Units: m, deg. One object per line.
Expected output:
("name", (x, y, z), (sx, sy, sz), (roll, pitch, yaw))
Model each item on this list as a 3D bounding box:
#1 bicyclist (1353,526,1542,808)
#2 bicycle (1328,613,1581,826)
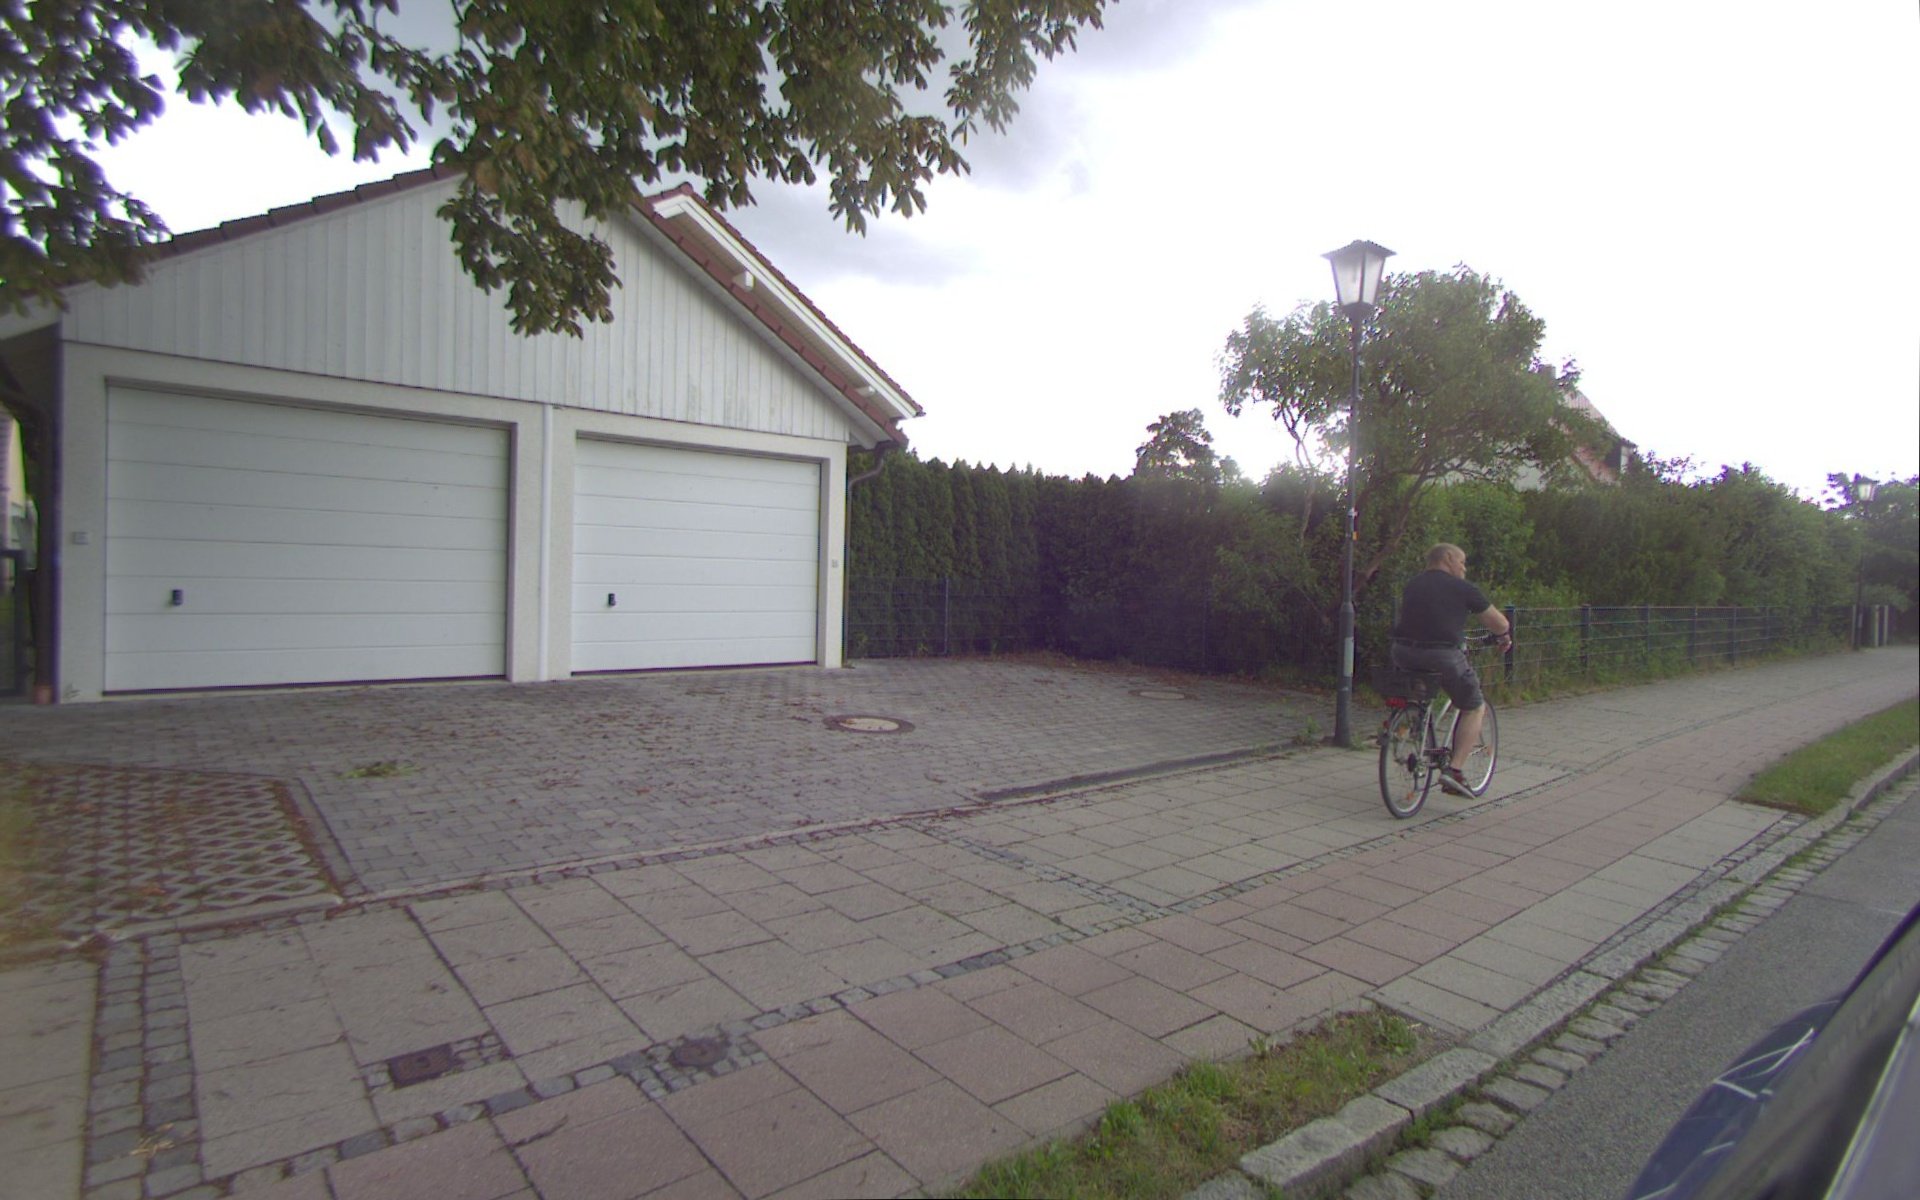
("bicyclist", (3.117, 0.377, 6.479), (0.874, 1.653, 0.738), (0, 2, -37))
("bicycle", (3.247, 0.687, 6.580), (1.811, 1.157, 0.766), (0, 1, -39))
